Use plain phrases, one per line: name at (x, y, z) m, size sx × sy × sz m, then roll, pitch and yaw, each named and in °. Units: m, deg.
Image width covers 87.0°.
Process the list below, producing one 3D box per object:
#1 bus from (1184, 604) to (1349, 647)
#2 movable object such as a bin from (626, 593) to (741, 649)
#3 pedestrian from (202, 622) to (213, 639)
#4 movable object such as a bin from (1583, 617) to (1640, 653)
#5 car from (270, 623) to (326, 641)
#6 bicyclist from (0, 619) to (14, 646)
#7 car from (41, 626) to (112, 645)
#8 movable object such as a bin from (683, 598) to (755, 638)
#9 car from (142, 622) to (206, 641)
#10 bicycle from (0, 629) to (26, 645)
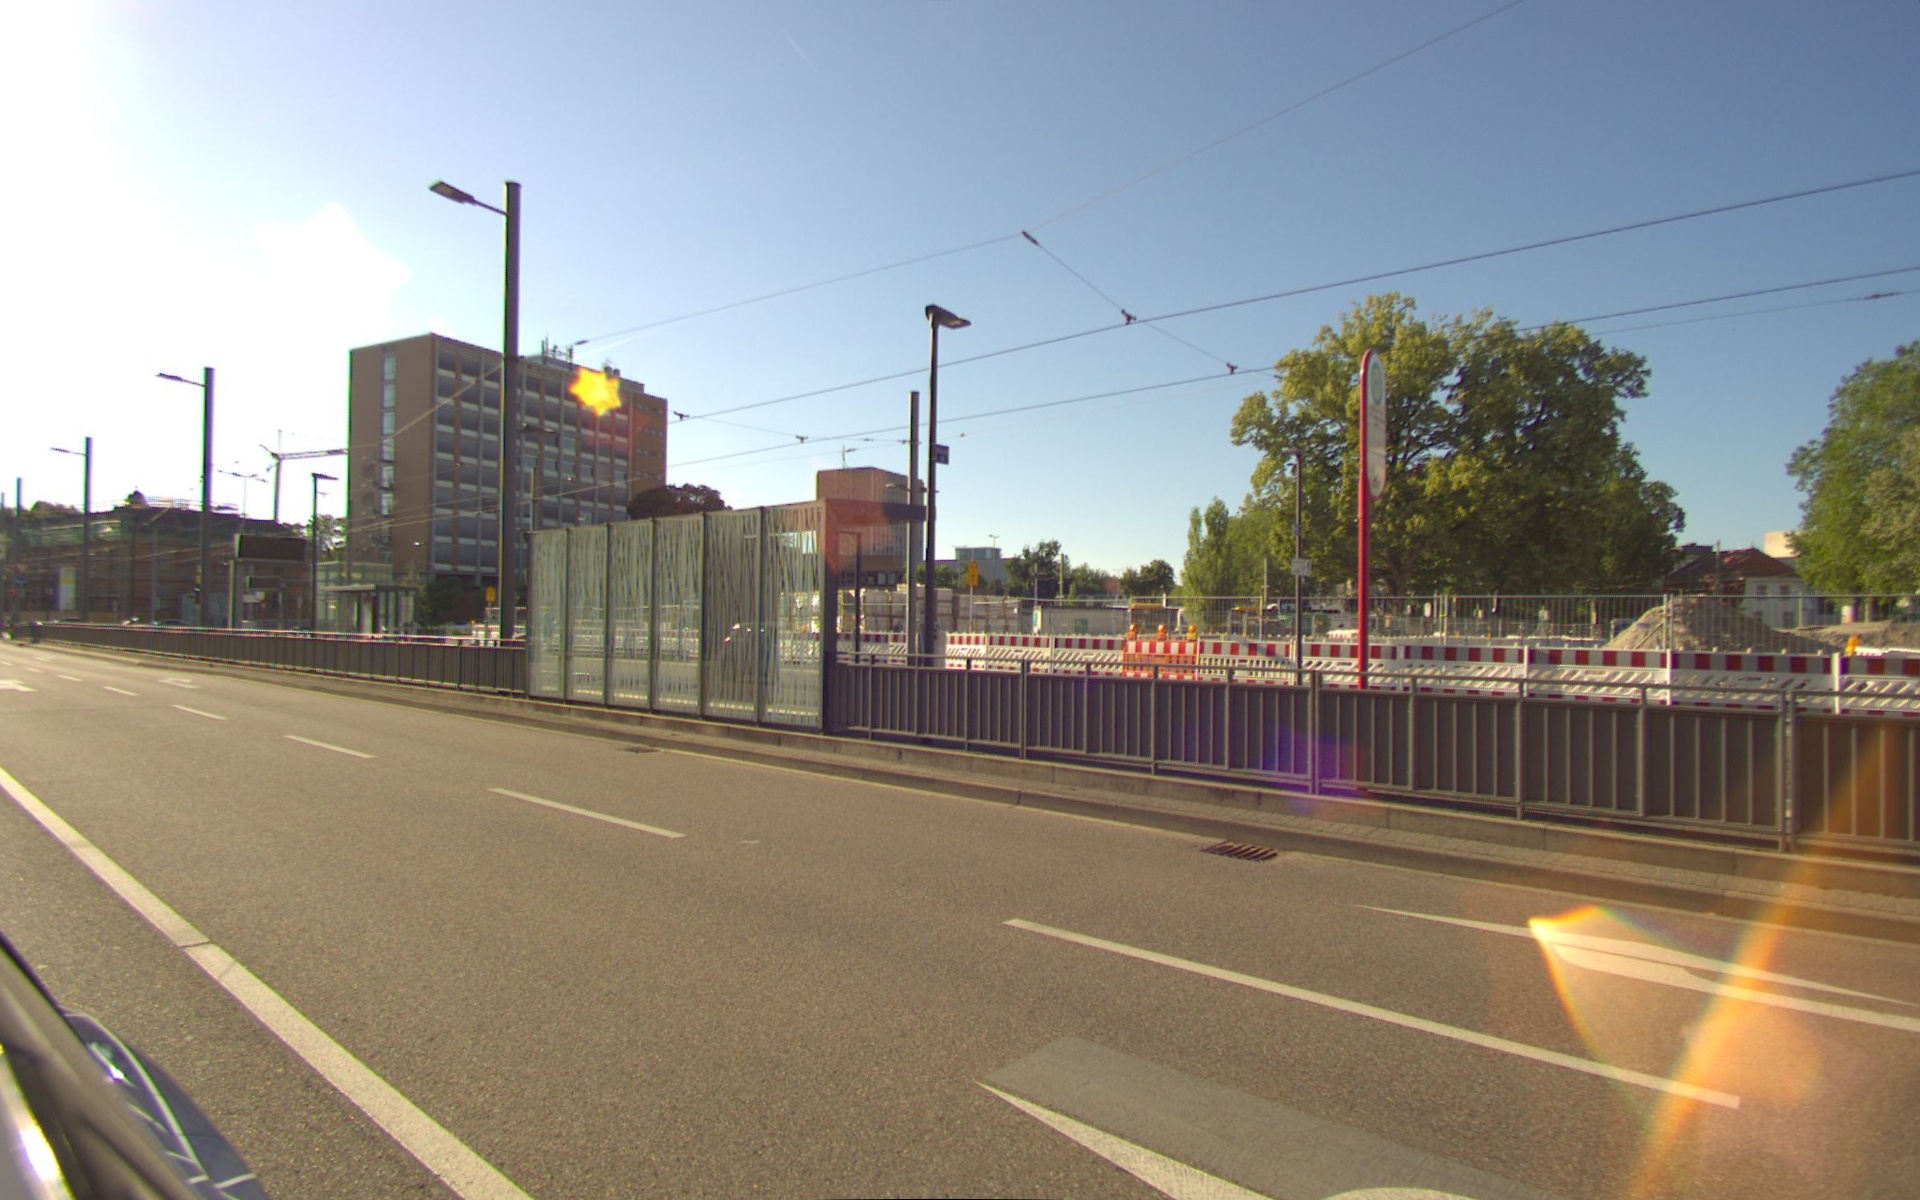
bus at (25.019, 2.096, 82.999) m, size 12.466 × 3.219 × 3.255 m, roll -1°, pitch -4°, yaw -5°
movable object such as a bin at (-13.968, 1.137, 51.180) m, size 5.136 × 2.545 × 2.614 m, roll -3°, pitch -4°, yaw 23°
pedestrian at (-78.401, 3.195, 105.419) m, size 0.612 × 1.752 × 0.666 m, roll 1°, pitch -1°, yaw -7°
movable object such as a bin at (39.402, 2.178, 61.306) m, size 1.985 × 2.029 × 3.972 m, roll -2°, pitch -4°, yaw 20°
car at (-65.758, 3.189, 100.581) m, size 4.628 × 1.697 × 2.005 m, roll 2°, pitch -5°, yaw -34°
bicyclist at (-56.786, 1.920, 60.092) m, size 0.814 × 1.628 × 0.668 m, roll 0°, pitch -3°, yaw 36°
car at (-82.424, 3.362, 94.507) m, size 4.626 × 1.697 × 2.006 m, roll 1°, pitch -5°, yaw -30°
movable object such as a bin at (-10.970, 0.832, 45.980) m, size 3.861 × 1.599 × 1.161 m, roll -4°, pitch -5°, yaw 40°
car at (-74.273, 2.980, 95.710) m, size 4.628 × 1.697 × 2.005 m, roll 2°, pitch -5°, yaw -34°
bicycle at (-56.816, 2.173, 60.047) m, size 0.814 × 0.949 × 1.872 m, roll 0°, pitch -3°, yaw 36°
